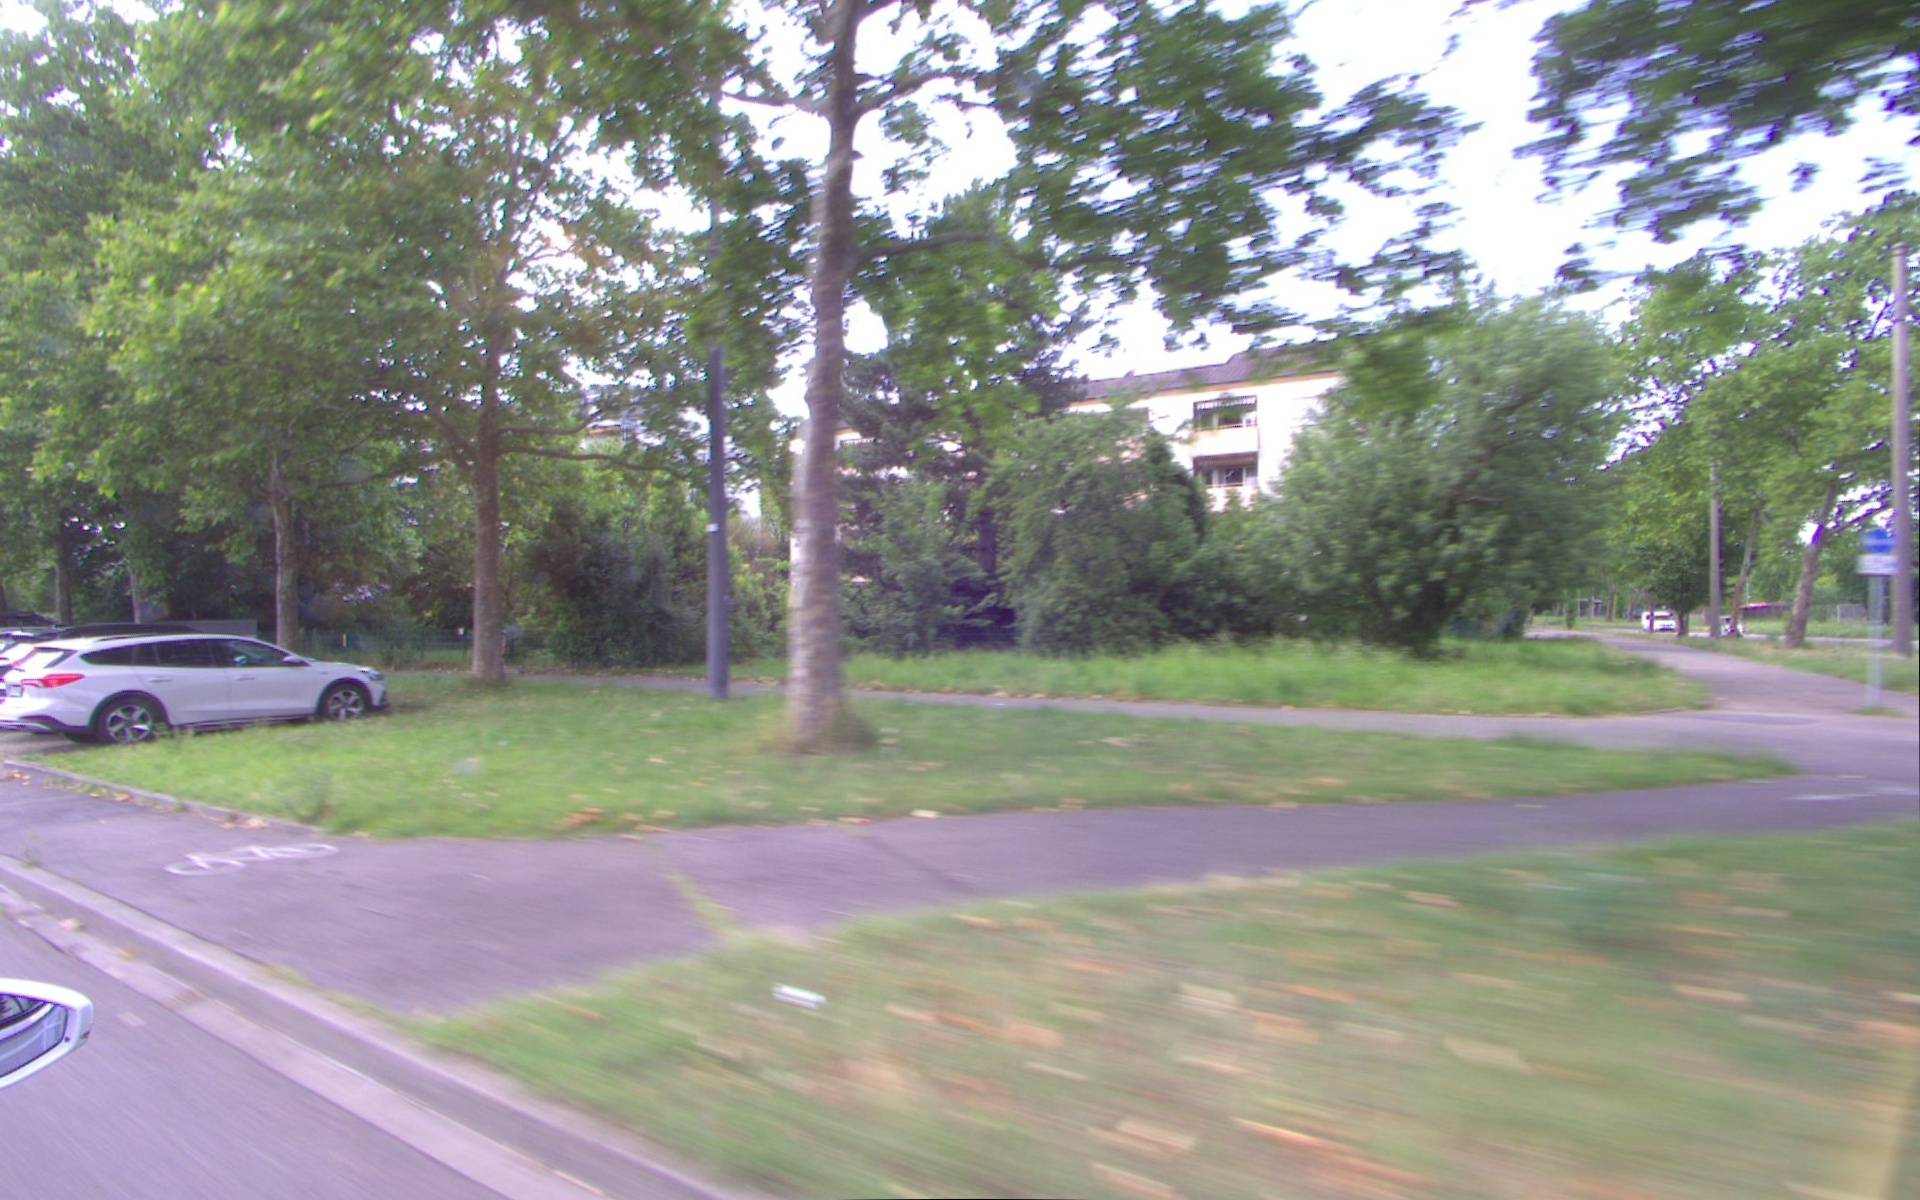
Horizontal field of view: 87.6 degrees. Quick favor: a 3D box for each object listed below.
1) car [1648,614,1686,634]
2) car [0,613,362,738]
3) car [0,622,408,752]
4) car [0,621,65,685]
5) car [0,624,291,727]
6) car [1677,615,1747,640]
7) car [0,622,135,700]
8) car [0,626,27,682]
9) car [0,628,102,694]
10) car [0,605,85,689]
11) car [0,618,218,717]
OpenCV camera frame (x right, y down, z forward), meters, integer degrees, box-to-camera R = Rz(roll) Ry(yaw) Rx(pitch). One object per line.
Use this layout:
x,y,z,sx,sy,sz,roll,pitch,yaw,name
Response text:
64.121,2.164,90.910,1.966,1.728,3.990,-1,-1,22,car
-12.611,1.079,16.271,1.822,1.647,4.647,-1,0,33,car
-10.976,1.132,14.772,1.822,1.493,4.647,-1,0,33,car
-28.876,1.568,28.687,1.832,1.789,4.530,-1,0,36,car
-14.654,1.233,17.715,1.735,1.521,4.362,-1,0,39,car
48.721,1.744,64.962,1.963,1.533,4.682,-1,-1,15,car
-21.304,1.359,22.454,1.728,1.626,3.963,-1,0,27,car
-31.127,1.694,29.852,1.830,1.682,4.535,-1,0,32,car
-23.548,1.504,24.223,1.734,1.514,3.952,-2,-1,36,car
-25.954,1.257,26.031,1.832,2.151,4.530,-1,0,36,car
-16.976,1.236,18.995,1.735,1.661,4.362,-1,0,39,car
